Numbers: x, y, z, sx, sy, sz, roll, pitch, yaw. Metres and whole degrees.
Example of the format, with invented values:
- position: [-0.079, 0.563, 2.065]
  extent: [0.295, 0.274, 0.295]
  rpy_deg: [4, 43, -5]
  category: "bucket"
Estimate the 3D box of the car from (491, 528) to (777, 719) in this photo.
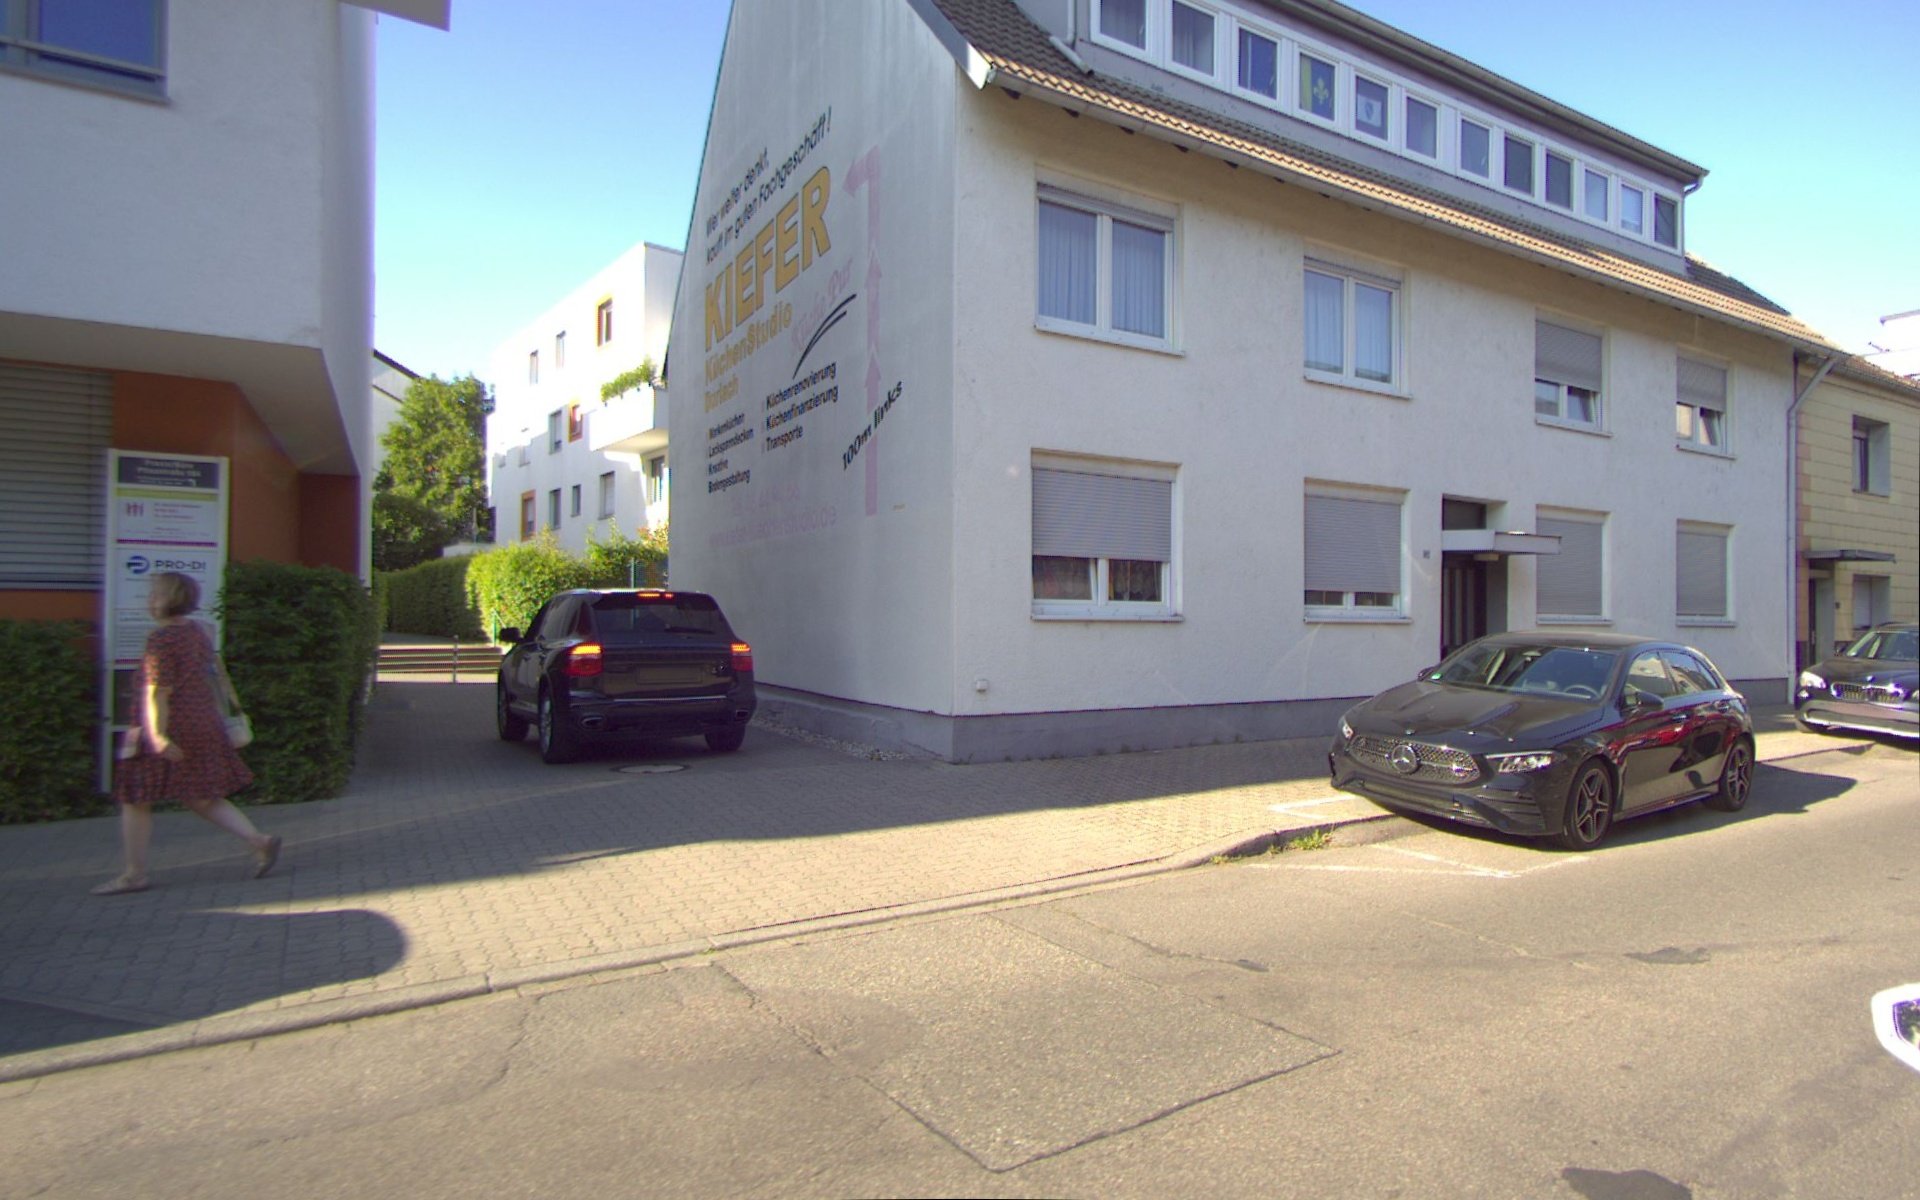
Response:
- position: [-3.834, 0.227, 11.187]
  extent: [1.992, 1.660, 4.581]
  rpy_deg: [1, -1, -32]
  category: "car"

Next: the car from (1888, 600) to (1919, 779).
- position: [10.209, 0.754, 8.939]
  extent: [4.098, 1.510, 1.832]
  rpy_deg: [1, -3, -32]
  category: "car"

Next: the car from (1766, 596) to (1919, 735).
- position: [13.129, 0.817, 13.753]
  extent: [4.285, 1.608, 1.848]
  rpy_deg: [1, 2, -31]
  category: "car"

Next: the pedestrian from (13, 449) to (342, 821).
- position: [-4.186, 0.172, 5.484]
  extent: [1.111, 1.843, 0.863]
  rpy_deg: [2, 3, -8]
  category: "pedestrian"

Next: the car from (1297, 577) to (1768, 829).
- position: [4.863, 0.703, 8.312]
  extent: [4.292, 1.556, 1.673]
  rpy_deg: [2, 2, -35]
  category: "car"
